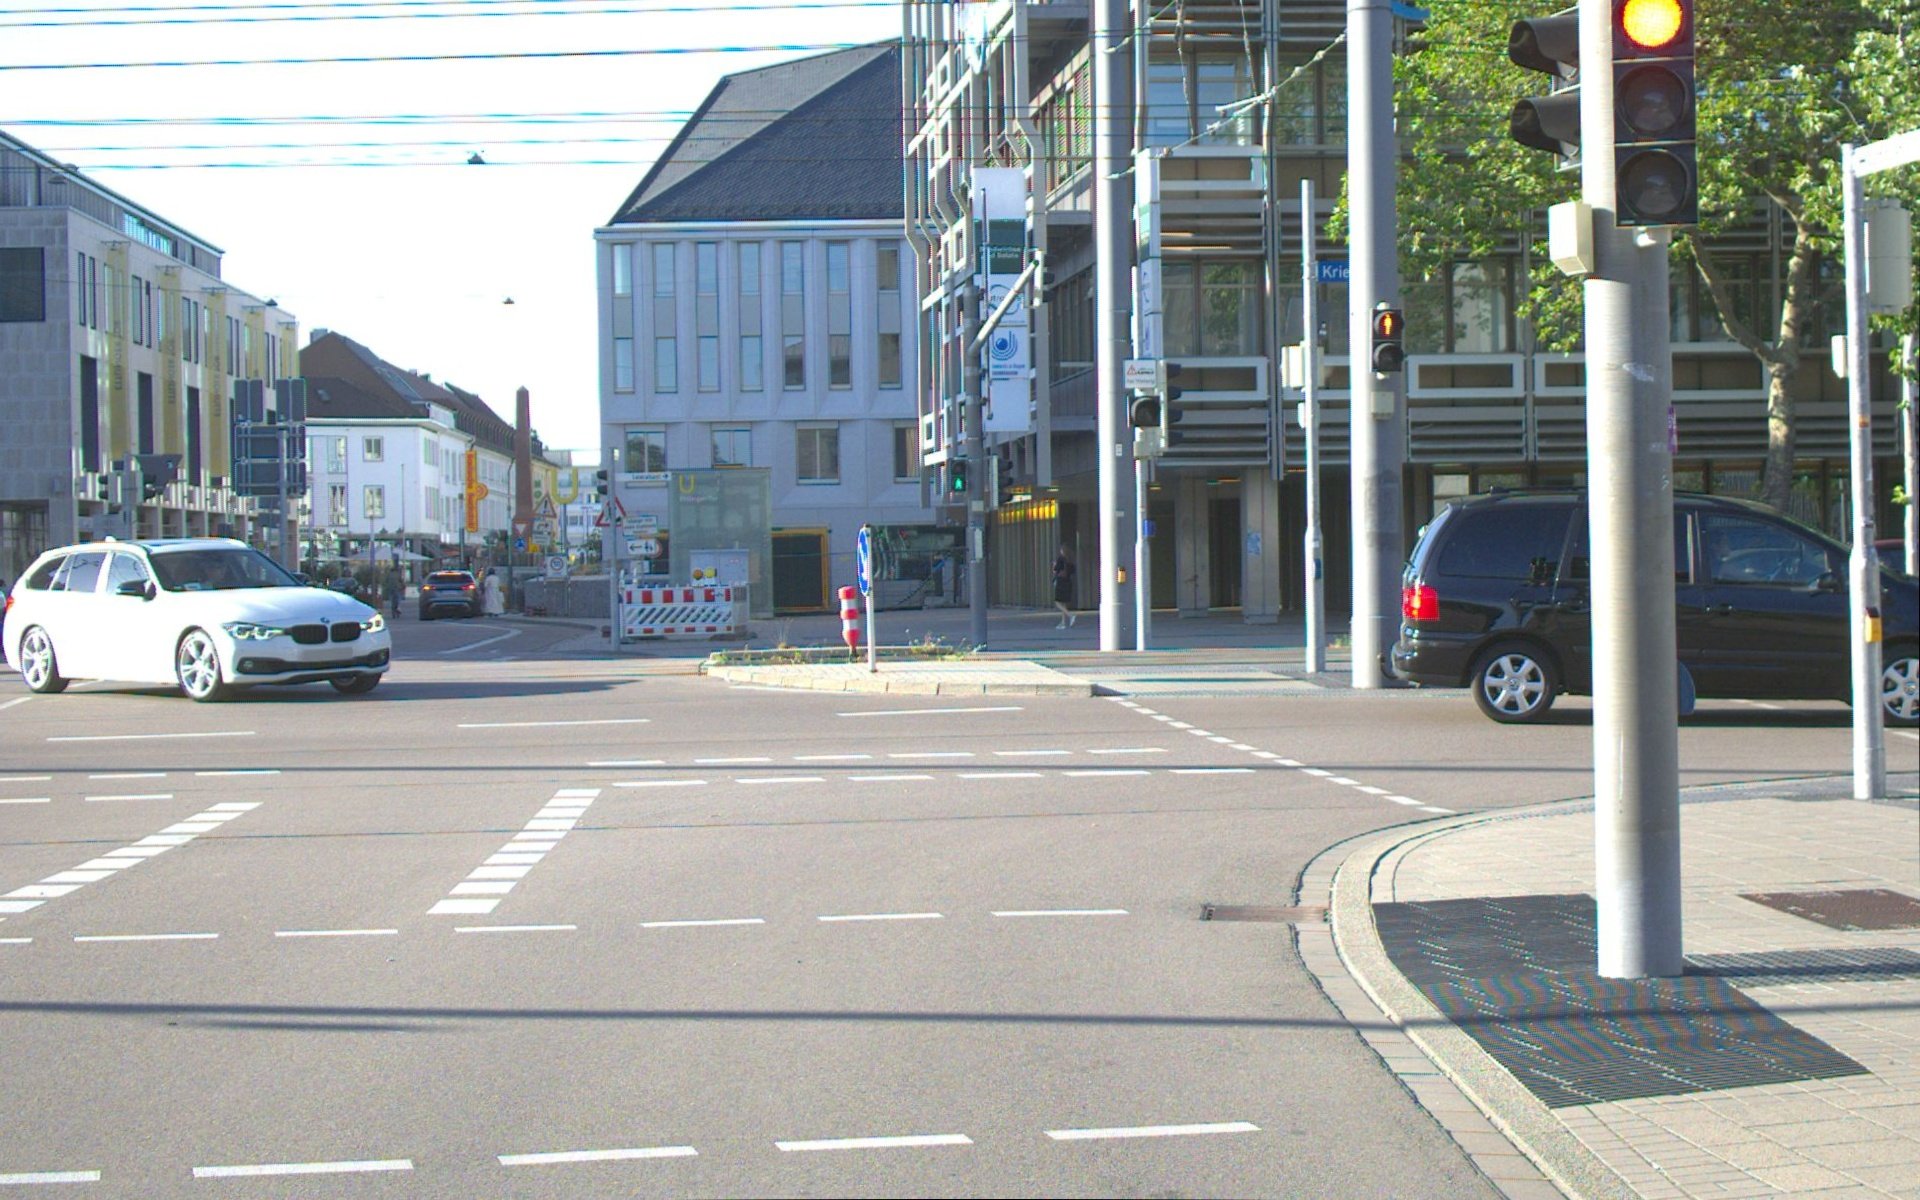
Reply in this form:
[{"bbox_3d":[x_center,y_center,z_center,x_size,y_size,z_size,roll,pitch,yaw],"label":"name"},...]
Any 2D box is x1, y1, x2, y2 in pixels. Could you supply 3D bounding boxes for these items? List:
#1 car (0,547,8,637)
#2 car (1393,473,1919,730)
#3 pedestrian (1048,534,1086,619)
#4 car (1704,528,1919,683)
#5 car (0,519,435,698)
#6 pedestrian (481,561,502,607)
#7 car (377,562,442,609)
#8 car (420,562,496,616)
[{"bbox_3d":[-18.576,-0.117,62.647,1.993,1.654,4.407,-2,1,-11],"label":"car"},{"bbox_3d":[5.542,-0.015,26.024,4.473,1.752,2.000,-1,4,7],"label":"car"},{"bbox_3d":[2.101,-0.458,67.584,0.663,1.652,0.755,-1,1,-3],"label":"pedestrian"},{"bbox_3d":[12.290,0.076,46.401,3.986,2.007,2.000,1,0,-3],"label":"car"},{"bbox_3d":[-7.050,0.052,31.878,1.995,1.522,4.700,-2,1,-43],"label":"car"},{"bbox_3d":[-14.764,-0.508,108.381,0.609,1.406,0.570,-1,1,-6],"label":"pedestrian"},{"bbox_3d":[-20.377,-0.565,127.463,1.993,1.654,4.407,-2,1,-4],"label":"car"},{"bbox_3d":[-15.802,-0.374,108.416,2.199,1.601,4.327,-1,1,-6],"label":"car"}]
